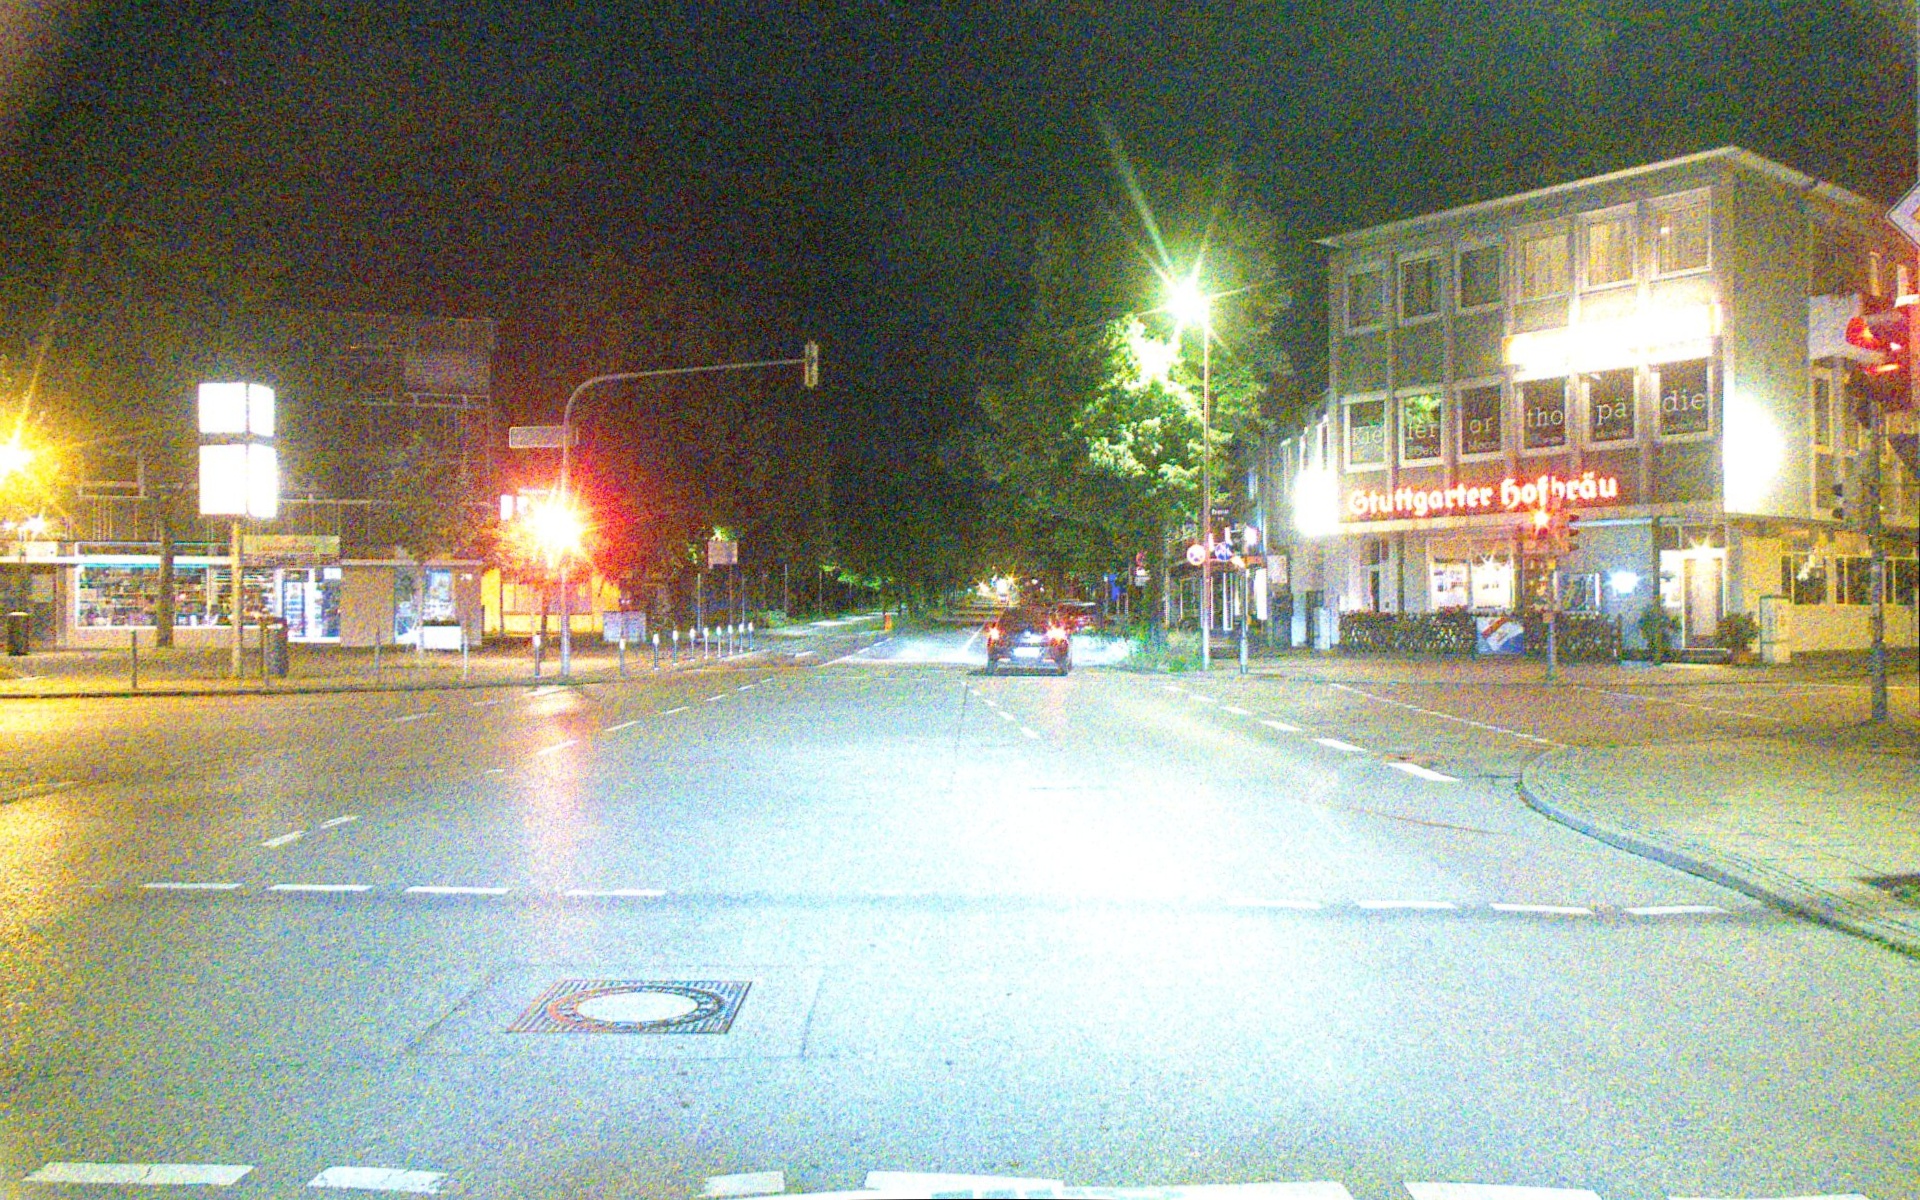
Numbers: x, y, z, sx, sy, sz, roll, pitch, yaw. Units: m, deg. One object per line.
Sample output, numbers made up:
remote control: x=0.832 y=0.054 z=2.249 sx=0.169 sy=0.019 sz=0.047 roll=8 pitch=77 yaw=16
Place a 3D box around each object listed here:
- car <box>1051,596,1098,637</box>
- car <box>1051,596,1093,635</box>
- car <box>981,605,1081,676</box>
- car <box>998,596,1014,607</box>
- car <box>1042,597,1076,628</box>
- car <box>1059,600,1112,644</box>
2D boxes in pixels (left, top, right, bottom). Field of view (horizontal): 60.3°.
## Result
car: x=4.731 y=0.686 z=68.859 sx=1.837 sy=1.643 sz=4.001 roll=0 pitch=0 yaw=2
car: x=5.155 y=0.716 z=76.536 sx=1.837 sy=1.759 sz=4.001 roll=0 pitch=0 yaw=2
car: x=1.539 y=0.863 z=37.285 sx=1.836 sy=1.479 sz=4.313 roll=1 pitch=0 yaw=-3
car: x=6.691 y=0.243 z=241.371 sx=2.181 sy=1.680 sz=4.000 roll=0 pitch=0 yaw=0
car: x=5.662 y=0.696 z=94.592 sx=1.837 sy=1.713 sz=4.001 roll=0 pitch=0 yaw=2
car: x=4.791 y=0.830 z=63.526 sx=1.837 sy=1.643 sz=4.001 roll=0 pitch=0 yaw=2
